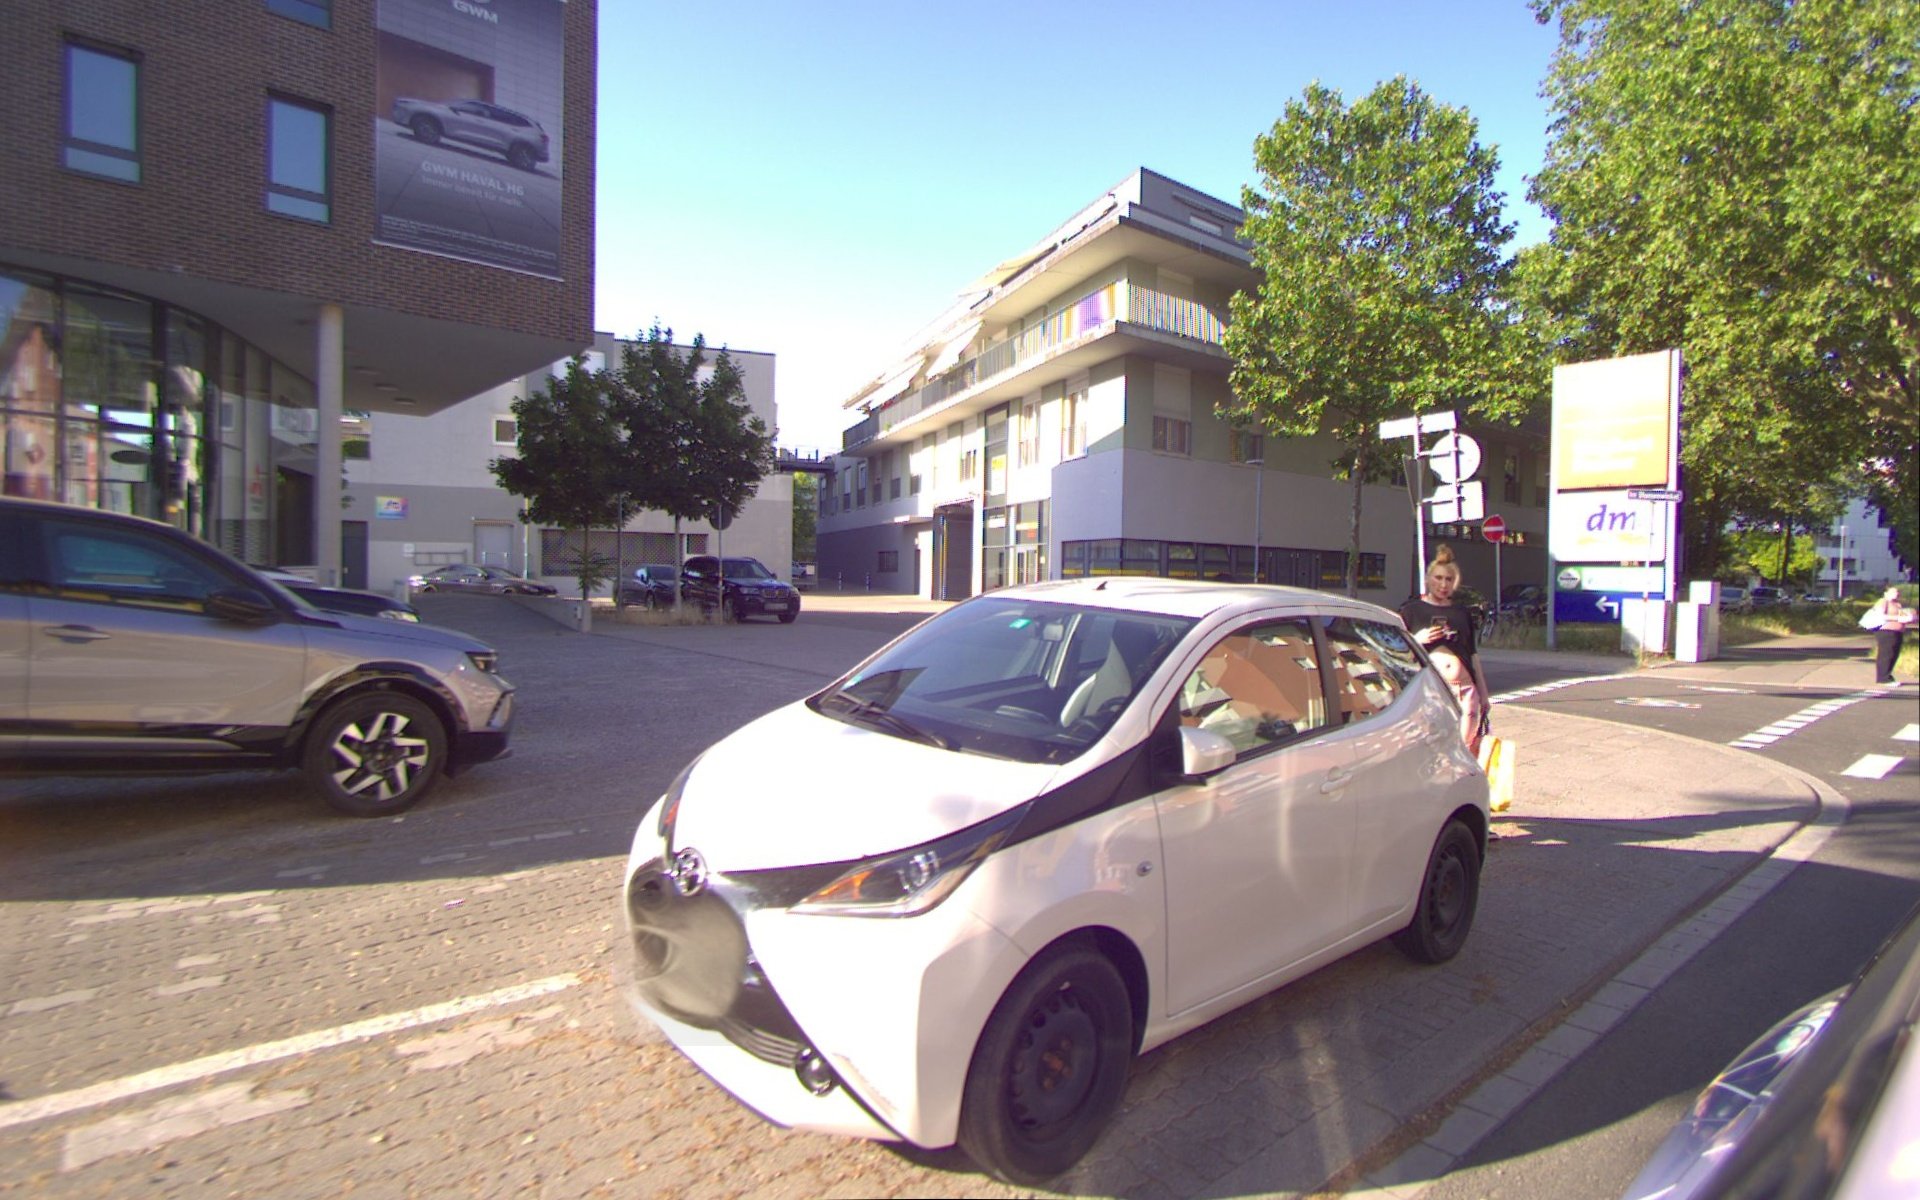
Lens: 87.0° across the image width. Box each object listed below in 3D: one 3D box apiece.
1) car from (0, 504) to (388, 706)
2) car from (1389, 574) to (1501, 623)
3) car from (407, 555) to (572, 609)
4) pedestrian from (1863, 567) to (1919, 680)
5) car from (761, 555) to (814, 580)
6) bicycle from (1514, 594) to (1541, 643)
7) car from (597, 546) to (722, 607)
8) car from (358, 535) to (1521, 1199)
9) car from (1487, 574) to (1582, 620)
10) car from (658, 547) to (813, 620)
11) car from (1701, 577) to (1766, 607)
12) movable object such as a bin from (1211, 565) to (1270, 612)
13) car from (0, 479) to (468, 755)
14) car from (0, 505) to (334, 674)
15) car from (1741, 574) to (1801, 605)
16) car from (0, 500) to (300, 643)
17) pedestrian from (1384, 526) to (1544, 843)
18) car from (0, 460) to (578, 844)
[{"bbox_3d":[-8.050,0.005,9.788,4.109,1.705,1.729,0,2,-43],"label":"car"},{"bbox_3d":[15.895,-0.069,33.065,4.052,1.487,1.862,0,2,-42],"label":"car"},{"bbox_3d":[-15.394,-0.605,33.141,4.801,1.517,1.793,3,2,12],"label":"car"},{"bbox_3d":[15.475,0.370,16.674,0.659,1.782,0.761,4,3,32],"label":"pedestrian"},{"bbox_3d":[-13.876,-2.632,81.330,3.916,1.896,1.783,1,2,-20],"label":"car"},{"bbox_3d":[12.585,0.392,22.430,0.381,1.016,1.469,2,2,33],"label":"bicycle"},{"bbox_3d":[-9.265,-0.745,31.002,1.995,1.683,4.493,1,3,-40],"label":"car"},{"bbox_3d":[0.311,0.575,3.550,3.952,1.485,1.638,-1,4,-42],"label":"car"},{"bbox_3d":[21.290,-0.140,37.455,3.692,1.572,1.863,0,2,-40],"label":"car"},{"bbox_3d":[-5.955,-0.477,26.533,1.995,1.683,4.491,0,3,-42],"label":"car"},{"bbox_3d":[41.967,-0.449,54.894,4.243,1.562,1.863,0,2,-40],"label":"car"},{"bbox_3d":[9.229,-0.384,33.303,1.378,1.481,1.199,0,2,-28],"label":"movable object such as a bin"},{"bbox_3d":[-6.242,0.071,7.550,4.294,1.753,1.828,0,2,-43],"label":"car"},{"bbox_3d":[-9.896,-0.153,11.846,4.109,1.755,1.878,0,2,-43],"label":"car"},{"bbox_3d":[48.209,-0.627,60.153,4.243,1.793,1.909,0,2,-40],"label":"car"},{"bbox_3d":[-11.614,-0.389,13.888,4.106,1.755,1.990,0,2,-40],"label":"car"},{"bbox_3d":[2.959,0.450,6.016,0.712,1.744,0.690,2,1,19],"label":"pedestrian"},{"bbox_3d":[-4.421,0.196,5.445,4.085,1.690,1.756,0,2,-41],"label":"car"}]
